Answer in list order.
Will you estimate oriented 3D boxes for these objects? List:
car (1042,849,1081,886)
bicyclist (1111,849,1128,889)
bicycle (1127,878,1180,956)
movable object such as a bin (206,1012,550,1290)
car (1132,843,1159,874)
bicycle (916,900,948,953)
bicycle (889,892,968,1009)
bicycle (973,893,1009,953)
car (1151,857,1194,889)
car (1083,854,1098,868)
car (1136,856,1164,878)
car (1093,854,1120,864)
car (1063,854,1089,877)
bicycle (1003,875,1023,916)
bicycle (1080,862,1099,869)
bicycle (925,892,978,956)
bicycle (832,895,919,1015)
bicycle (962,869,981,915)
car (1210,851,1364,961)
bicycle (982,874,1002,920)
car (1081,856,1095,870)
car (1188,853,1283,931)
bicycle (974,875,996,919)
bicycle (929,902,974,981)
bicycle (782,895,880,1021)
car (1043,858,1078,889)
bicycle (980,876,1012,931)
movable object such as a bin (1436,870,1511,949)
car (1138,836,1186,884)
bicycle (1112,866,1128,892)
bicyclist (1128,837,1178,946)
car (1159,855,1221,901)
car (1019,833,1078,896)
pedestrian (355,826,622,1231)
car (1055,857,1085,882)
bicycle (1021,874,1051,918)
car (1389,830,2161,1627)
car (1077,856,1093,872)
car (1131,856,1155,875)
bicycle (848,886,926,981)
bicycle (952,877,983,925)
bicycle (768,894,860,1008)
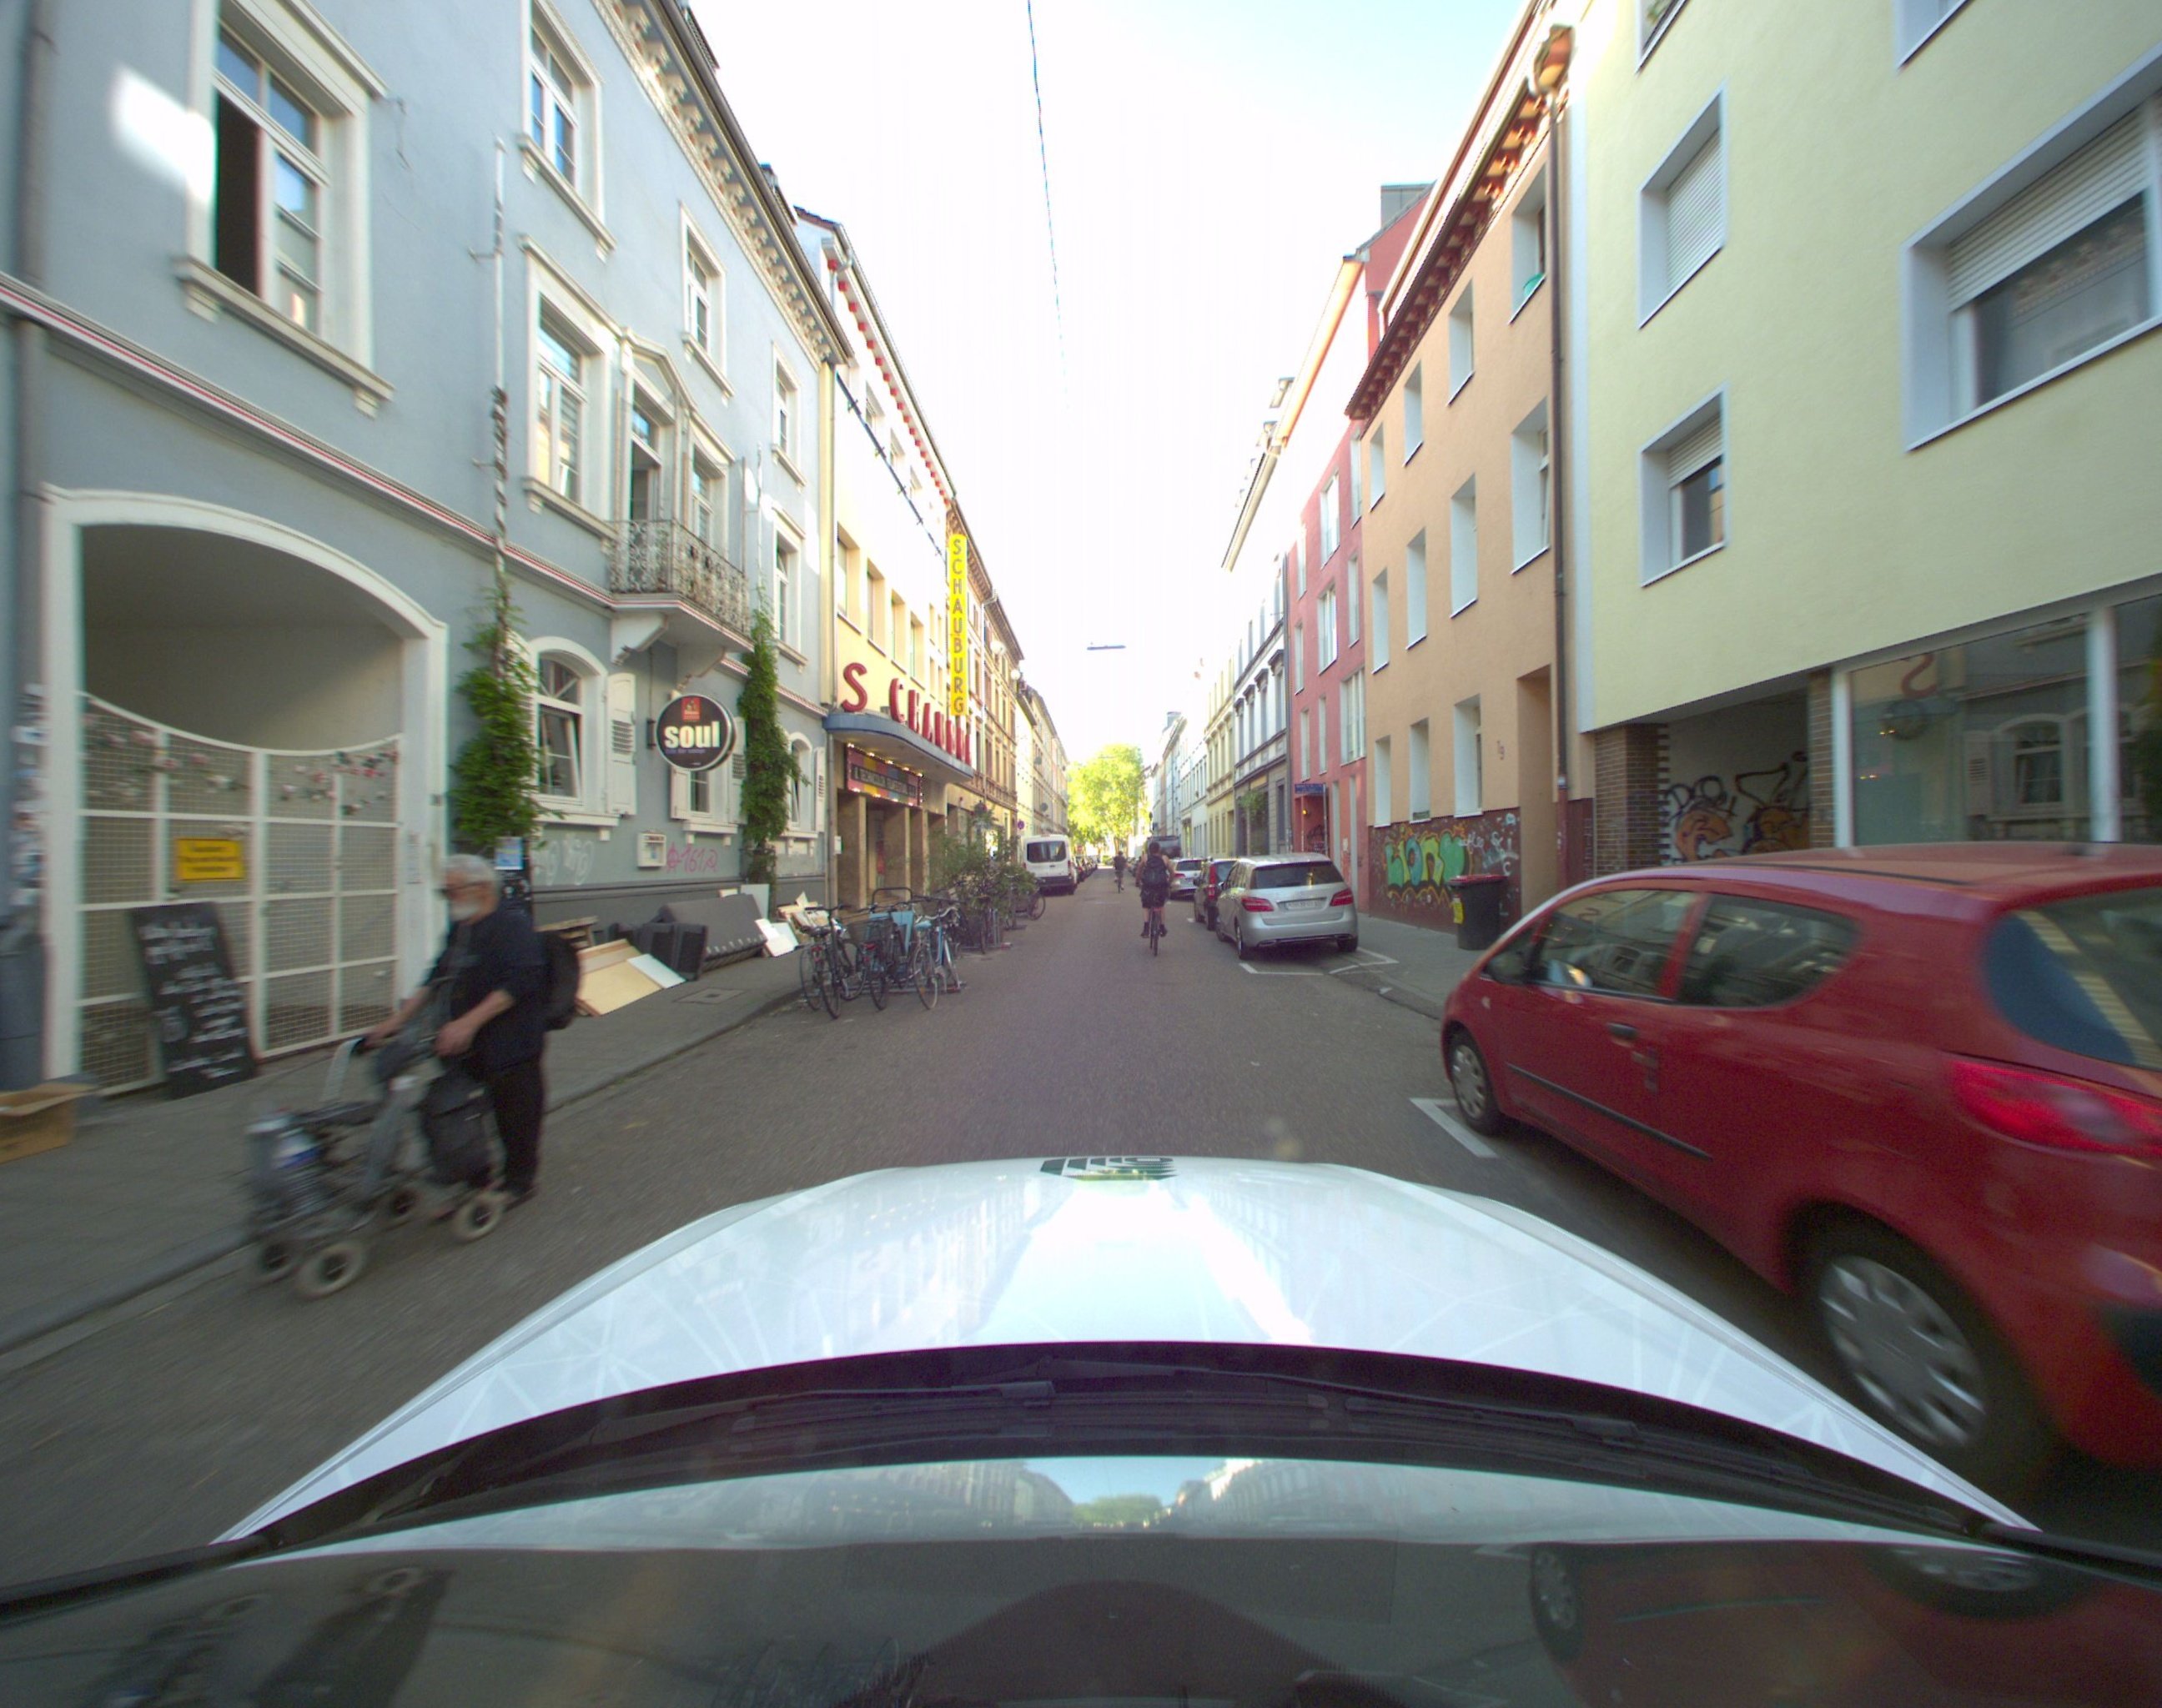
[{"bbox_3d":[-1.039,0.728,46.392,1.820,1.892,4.616,-4,0,2],"label":"car"},{"bbox_3d":[1.615,0.616,34.523,0.667,1.658,0.877,-1,0,2],"label":"bicyclist"},{"bbox_3d":[1.145,0.979,13.288,0.737,1.100,2.043,1,0,2],"label":"bicycle"},{"bbox_3d":[-2.751,1.141,3.262,0.842,0.898,0.585,0,-1,-1],"label":"movable object such as a bin"},{"bbox_3d":[5.688,0.380,72.353,2.194,2.551,6.042,-1,0,4],"label":"car"},{"bbox_3d":[-2.591,1.255,14.265,0.255,0.817,1.300,0,0,3],"label":"bicycle"},{"bbox_3d":[-1.677,1.021,9.196,0.497,1.105,1.830,0,0,2],"label":"bicycle"},{"bbox_3d":[-1.537,1.159,14.038,0.388,0.916,1.394,-1,0,3],"label":"bicycle"},{"bbox_3d":[4.394,0.889,39.526,1.741,1.444,4.174,-1,0,2],"label":"car"},{"bbox_3d":[1.228,0.916,103.644,1.781,1.737,3.877,-1,0,2],"label":"car"},{"bbox_3d":[4.811,0.889,57.082,1.739,1.485,4.244,-1,0,2],"label":"car"},{"bbox_3d":[4.484,0.865,142.947,4.458,1.759,1.864,-1,0,-3],"label":"car"},{"bbox_3d":[-0.342,0.879,64.102,1.794,1.698,4.002,-3,0,2],"label":"car"},{"bbox_3d":[-1.849,1.112,22.277,0.441,1.047,1.864,1,0,-2],"label":"bicycle"},{"bbox_3d":[1.181,1.620,113.132,2.707,0.892,0.618,-1,0,-1],"label":"bicycle"},{"bbox_3d":[-2.156,1.146,13.702,0.551,0.944,1.572,-1,0,3],"label":"bicycle"},{"bbox_3d":[-2.263,1.067,9.174,0.441,1.105,1.932,0,0,2],"label":"bicycle"},{"bbox_3d":[-2.933,0.993,21.855,0.338,1.174,1.489,1,0,-2],"label":"bicycle"},{"bbox_3d":[3.281,0.745,13.760,1.739,1.556,4.174,-1,0,3],"label":"car"},{"bbox_3d":[-2.434,1.142,22.262,0.398,1.174,1.668,1,0,-2],"label":"bicycle"},{"bbox_3d":[0.778,1.024,91.443,1.540,1.550,3.463,-1,0,-1],"label":"car"},{"bbox_3d":[3.424,0.792,18.575,1.595,1.539,3.453,-3,0,3],"label":"car"},{"bbox_3d":[-2.413,1.076,20.623,0.416,1.047,1.317,1,0,-1],"label":"bicycle"},{"bbox_3d":[-1.695,1.129,10.794,0.320,0.916,1.291,-1,0,3],"label":"bicycle"},{"bbox_3d":[-2.628,1.044,8.743,0.442,1.105,1.874,0,0,1],"label":"bicycle"},{"bbox_3d":[-0.997,0.956,41.790,1.640,1.447,3.839,-1,0,0],"label":"car"},{"bbox_3d":[-1.819,1.043,17.678,0.544,1.094,1.880,1,0,-2],"label":"bicycle"},{"bbox_3d":[5.646,0.789,11.763,0.689,1.058,0.737,-3,0,2],"label":"movable object such as a bin"},{"bbox_3d":[4.444,0.331,45.764,2.167,2.425,6.311,-2,0,2],"label":"car"},{"bbox_3d":[1.646,1.040,34.551,0.661,1.037,1.960,-1,0,2],"label":"bicycle"},{"bbox_3d":[1.147,0.584,13.178,0.737,1.679,1.117,1,0,1],"label":"bicyclist"},{"bbox_3d":[4.012,0.840,30.631,1.780,1.454,4.548,-4,0,1],"label":"car"},{"bbox_3d":[-1.315,0.423,35.742,2.161,2.452,5.922,-2,0,1],"label":"car"},{"bbox_3d":[-2.706,0.741,3.797,0.710,1.708,0.672,0,-1,1],"label":"pedestrian"},{"bbox_3d":[-0.662,0.956,53.079,1.856,1.440,4.644,-1,0,0],"label":"car"},{"bbox_3d":[-1.174,1.070,21.196,0.461,1.047,1.742,1,0,-14],"label":"bicycle"},{"bbox_3d":[2.879,0.714,3.552,1.690,1.523,3.983,-2,0,3],"label":"car"},{"bbox_3d":[0.437,1.025,84.071,1.599,1.530,3.379,-2,0,0],"label":"car"},{"bbox_3d":[5.058,0.916,67.098,1.719,1.429,3.832,-1,0,1],"label":"car"},{"bbox_3d":[-2.551,1.028,10.820,0.810,1.175,0.920,0,0,0],"label":"bicycle"},{"bbox_3d":[-2.650,1.080,19.043,0.572,1.045,1.408,0,0,-2],"label":"bicycle"},{"bbox_3d":[-3.003,1.046,9.309,0.441,1.105,1.698,0,0,2],"label":"bicycle"}]
